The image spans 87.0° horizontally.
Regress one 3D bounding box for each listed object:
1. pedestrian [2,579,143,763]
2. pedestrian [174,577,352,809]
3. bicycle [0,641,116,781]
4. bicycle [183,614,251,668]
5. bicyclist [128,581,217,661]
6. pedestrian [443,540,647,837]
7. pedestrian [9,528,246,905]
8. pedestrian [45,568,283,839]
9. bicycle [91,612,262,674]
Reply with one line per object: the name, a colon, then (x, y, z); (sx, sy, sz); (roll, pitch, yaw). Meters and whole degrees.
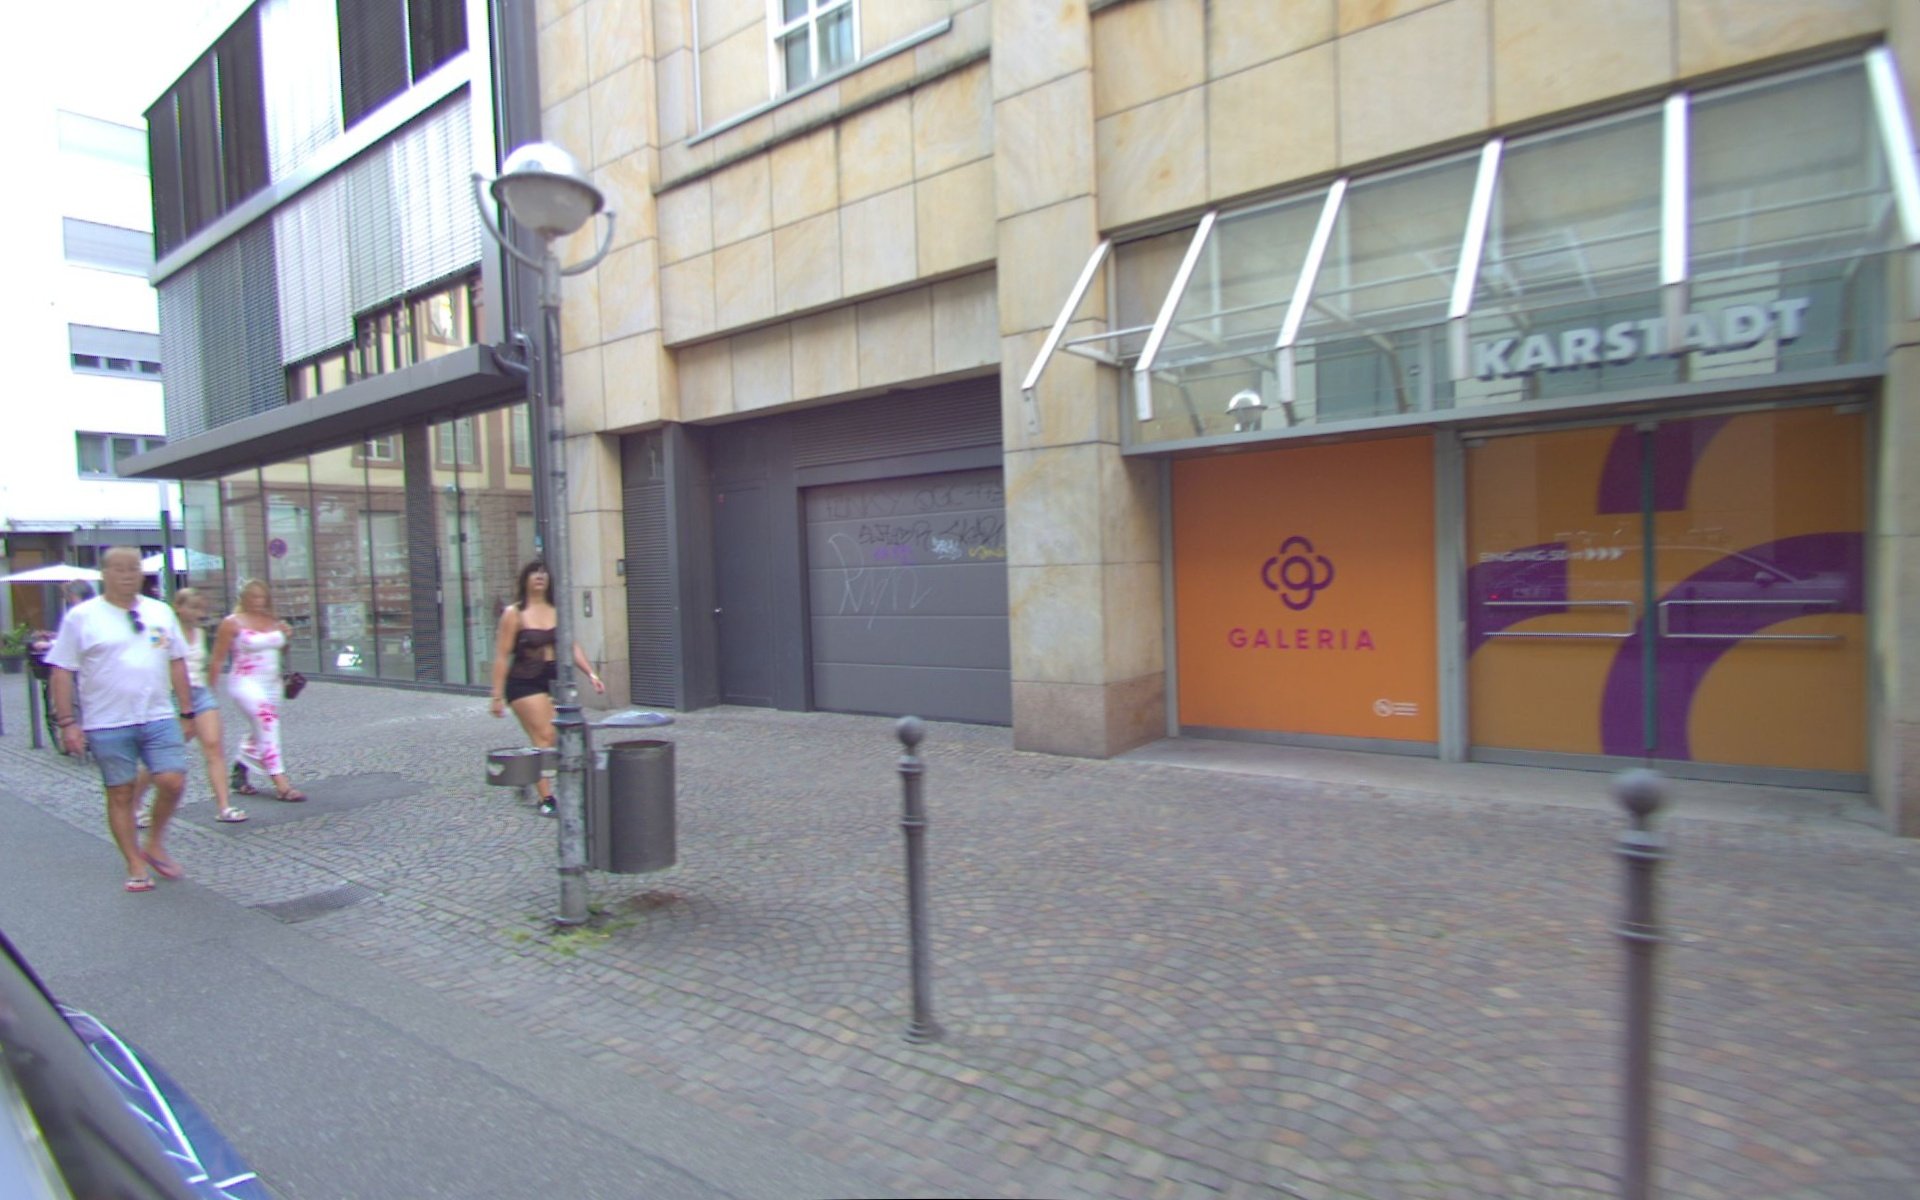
pedestrian: (-8.881, 0.683, 10.157); (0.584, 1.731, 0.769); (-3, 2, 6)
pedestrian: (-5.322, 0.680, 7.752); (0.852, 1.677, 0.673); (-2, 1, 15)
bicycle: (-8.684, 1.000, 9.629); (1.912, 1.162, 0.528); (-1, 3, 38)
bicycle: (-16.681, 0.928, 22.709); (1.670, 1.121, 0.701); (-3, 0, 36)
bicyclist: (-19.057, 0.498, 24.503); (0.921, 1.831, 1.452); (-2, 1, 36)
pedestrian: (-2.761, 0.539, 6.753); (0.968, 1.808, 0.780); (-1, 1, 30)
pedestrian: (-4.495, 0.563, 5.472); (0.876, 1.836, 0.736); (-1, 1, 36)
pedestrian: (-5.439, 0.670, 6.968); (0.938, 1.742, 0.807); (-2, 1, 8)
bicycle: (-18.971, 1.010, 24.601); (0.921, 1.269, 3.119); (-2, 1, 36)
